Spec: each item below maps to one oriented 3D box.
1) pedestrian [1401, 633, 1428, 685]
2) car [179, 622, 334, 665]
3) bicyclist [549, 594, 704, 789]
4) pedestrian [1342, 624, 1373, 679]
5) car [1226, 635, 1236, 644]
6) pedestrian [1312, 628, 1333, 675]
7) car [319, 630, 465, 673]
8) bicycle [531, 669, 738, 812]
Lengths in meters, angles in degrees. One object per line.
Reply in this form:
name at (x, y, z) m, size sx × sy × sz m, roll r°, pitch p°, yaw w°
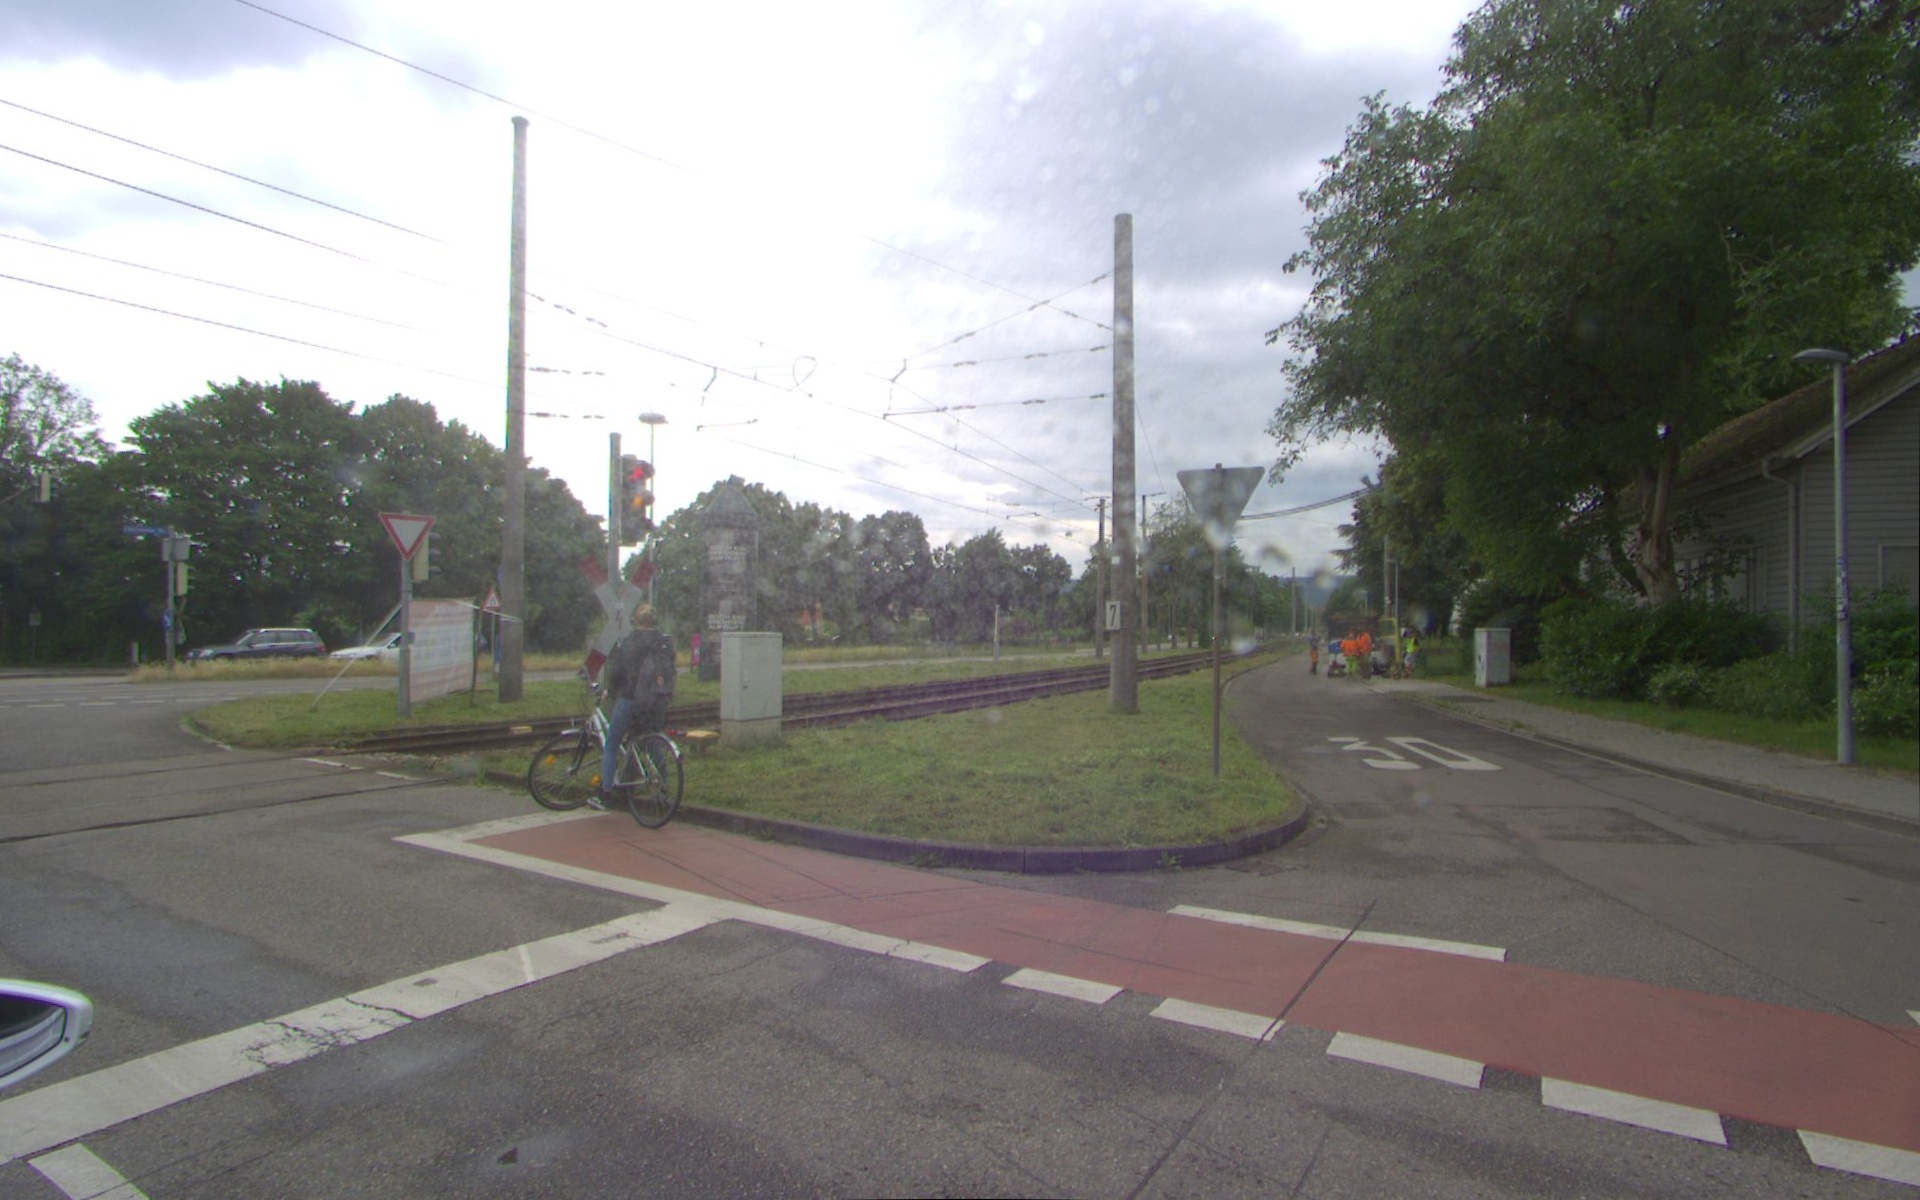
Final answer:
pedestrian at (16.619, 2.137, 36.595) m, size 0.598 × 1.864 × 0.712 m, roll 1°, pitch -1°, yaw -13°
car at (-26.505, 1.615, 37.863) m, size 1.820 × 1.523 × 4.456 m, roll 0°, pitch -2°, yaw 33°
bicyclist at (-2.634, 0.712, 7.925) m, size 0.947 × 1.441 × 0.621 m, roll -1°, pitch -5°, yaw 32°
pedestrian at (13.822, 1.790, 34.781) m, size 0.862 × 1.878 × 0.676 m, roll 1°, pitch -1°, yaw 34°
car at (54.155, 7.826, 200.031) m, size 1.964 × 1.829 × 3.996 m, roll -1°, pitch -2°, yaw 16°
pedestrian at (14.758, 2.085, 40.801) m, size 0.757 × 1.892 × 0.604 m, roll 0°, pitch -1°, yaw 17°
car at (-19.629, 1.755, 34.783) m, size 1.624 × 1.374 × 4.129 m, roll 0°, pitch -2°, yaw 33°
bicycle at (-2.626, 1.065, 7.966) m, size 2.001 × 0.993 × 0.382 m, roll -1°, pitch -2°, yaw 32°
